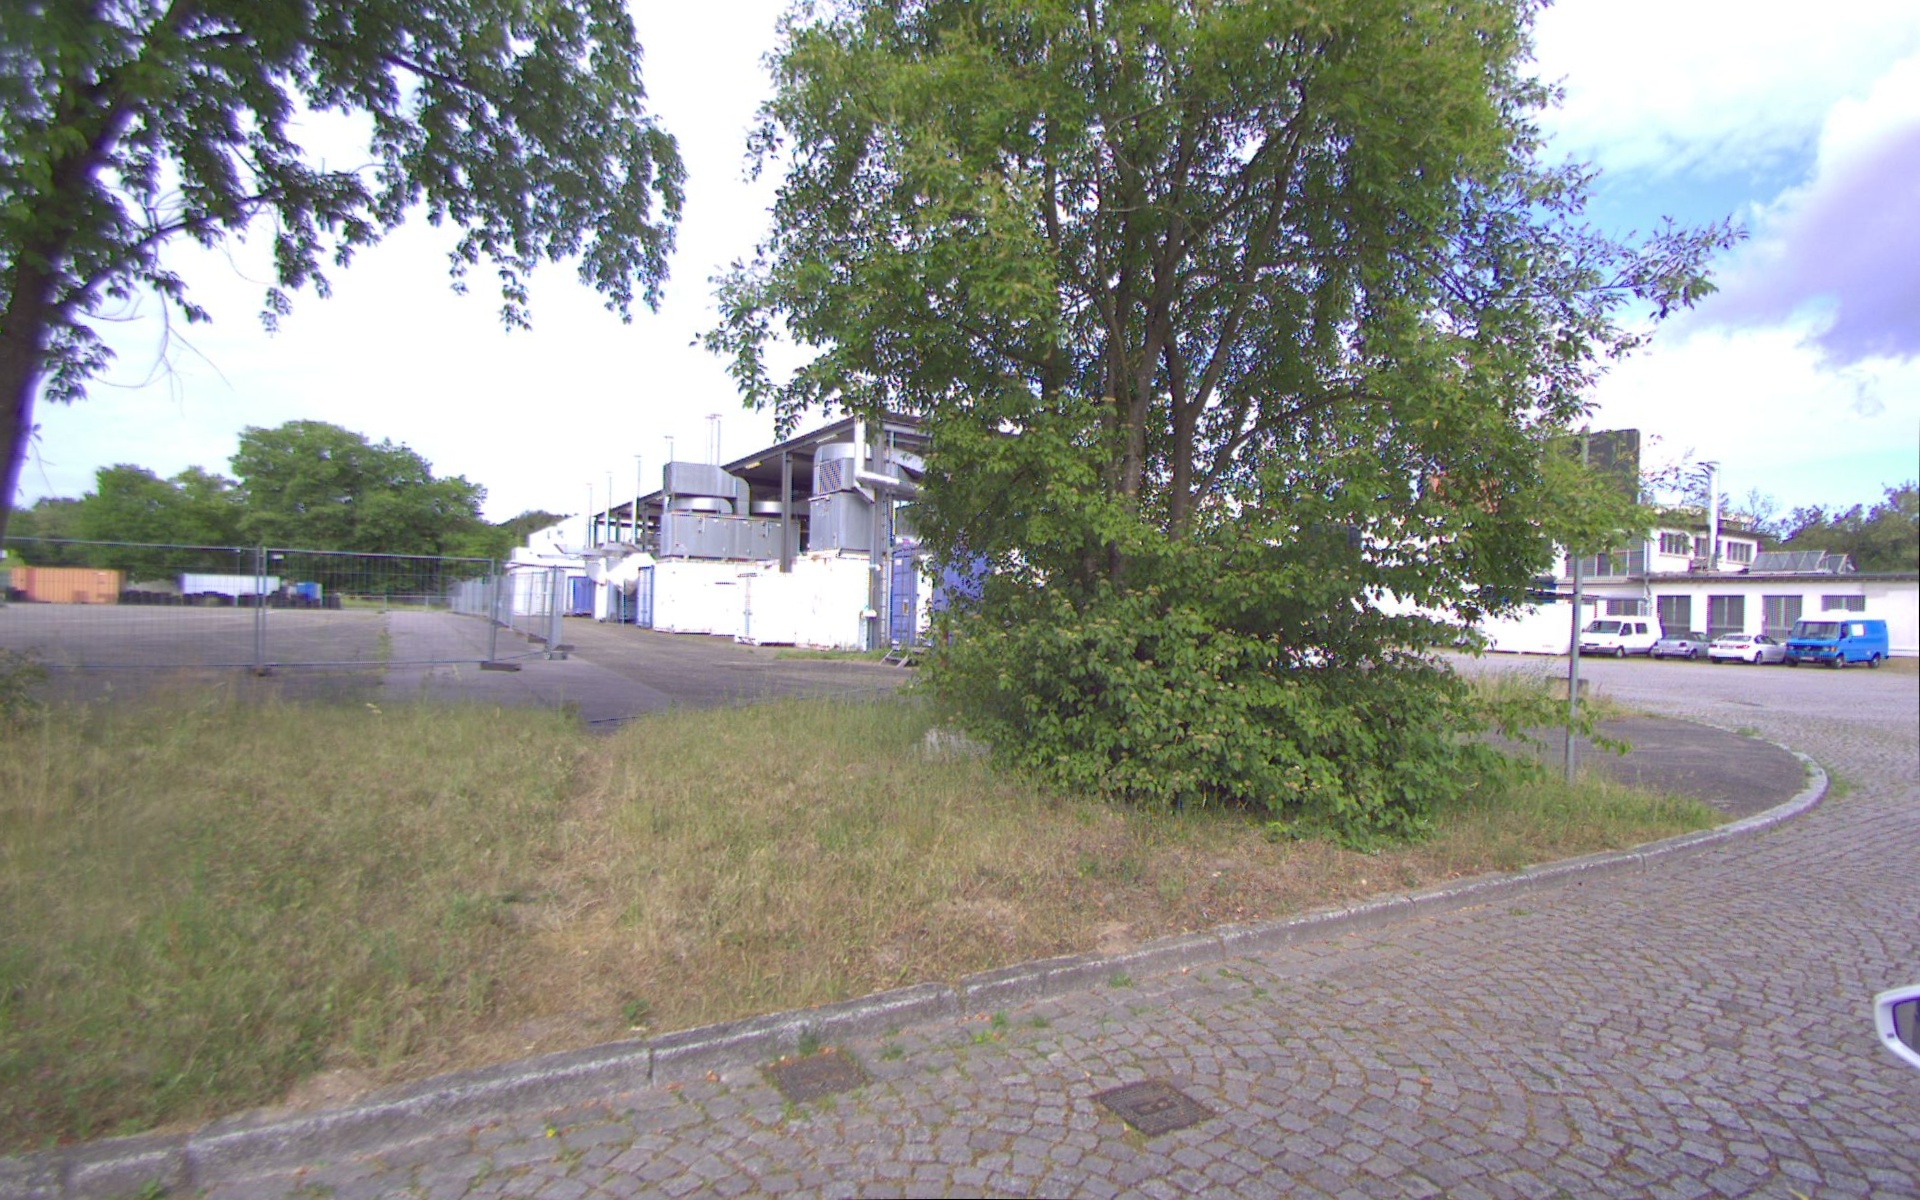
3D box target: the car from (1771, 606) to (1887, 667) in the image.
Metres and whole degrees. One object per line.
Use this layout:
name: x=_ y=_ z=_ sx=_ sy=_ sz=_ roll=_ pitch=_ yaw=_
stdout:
car: x=38.583 y=1.648 z=44.554 sx=5.546 sy=2.557 sz=1.986 roll=2 pitch=-1 yaw=-28

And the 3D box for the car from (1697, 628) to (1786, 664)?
car: x=36.085 y=2.126 z=46.378 sx=3.952 sy=1.596 sz=1.892 roll=2 pitch=-1 yaw=-29

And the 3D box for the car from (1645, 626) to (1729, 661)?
car: x=35.605 y=2.137 z=49.187 sx=3.952 sy=1.596 sz=1.892 roll=2 pitch=-1 yaw=-29

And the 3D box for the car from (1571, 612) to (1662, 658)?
car: x=33.723 y=1.815 z=51.556 sx=4.723 sy=2.236 sz=1.893 roll=2 pitch=-1 yaw=-28

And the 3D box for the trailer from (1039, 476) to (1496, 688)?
trailer: x=6.882 y=-0.146 z=21.460 sx=10.589 sy=3.755 sz=2.646 roll=2 pitch=-1 yaw=-29
